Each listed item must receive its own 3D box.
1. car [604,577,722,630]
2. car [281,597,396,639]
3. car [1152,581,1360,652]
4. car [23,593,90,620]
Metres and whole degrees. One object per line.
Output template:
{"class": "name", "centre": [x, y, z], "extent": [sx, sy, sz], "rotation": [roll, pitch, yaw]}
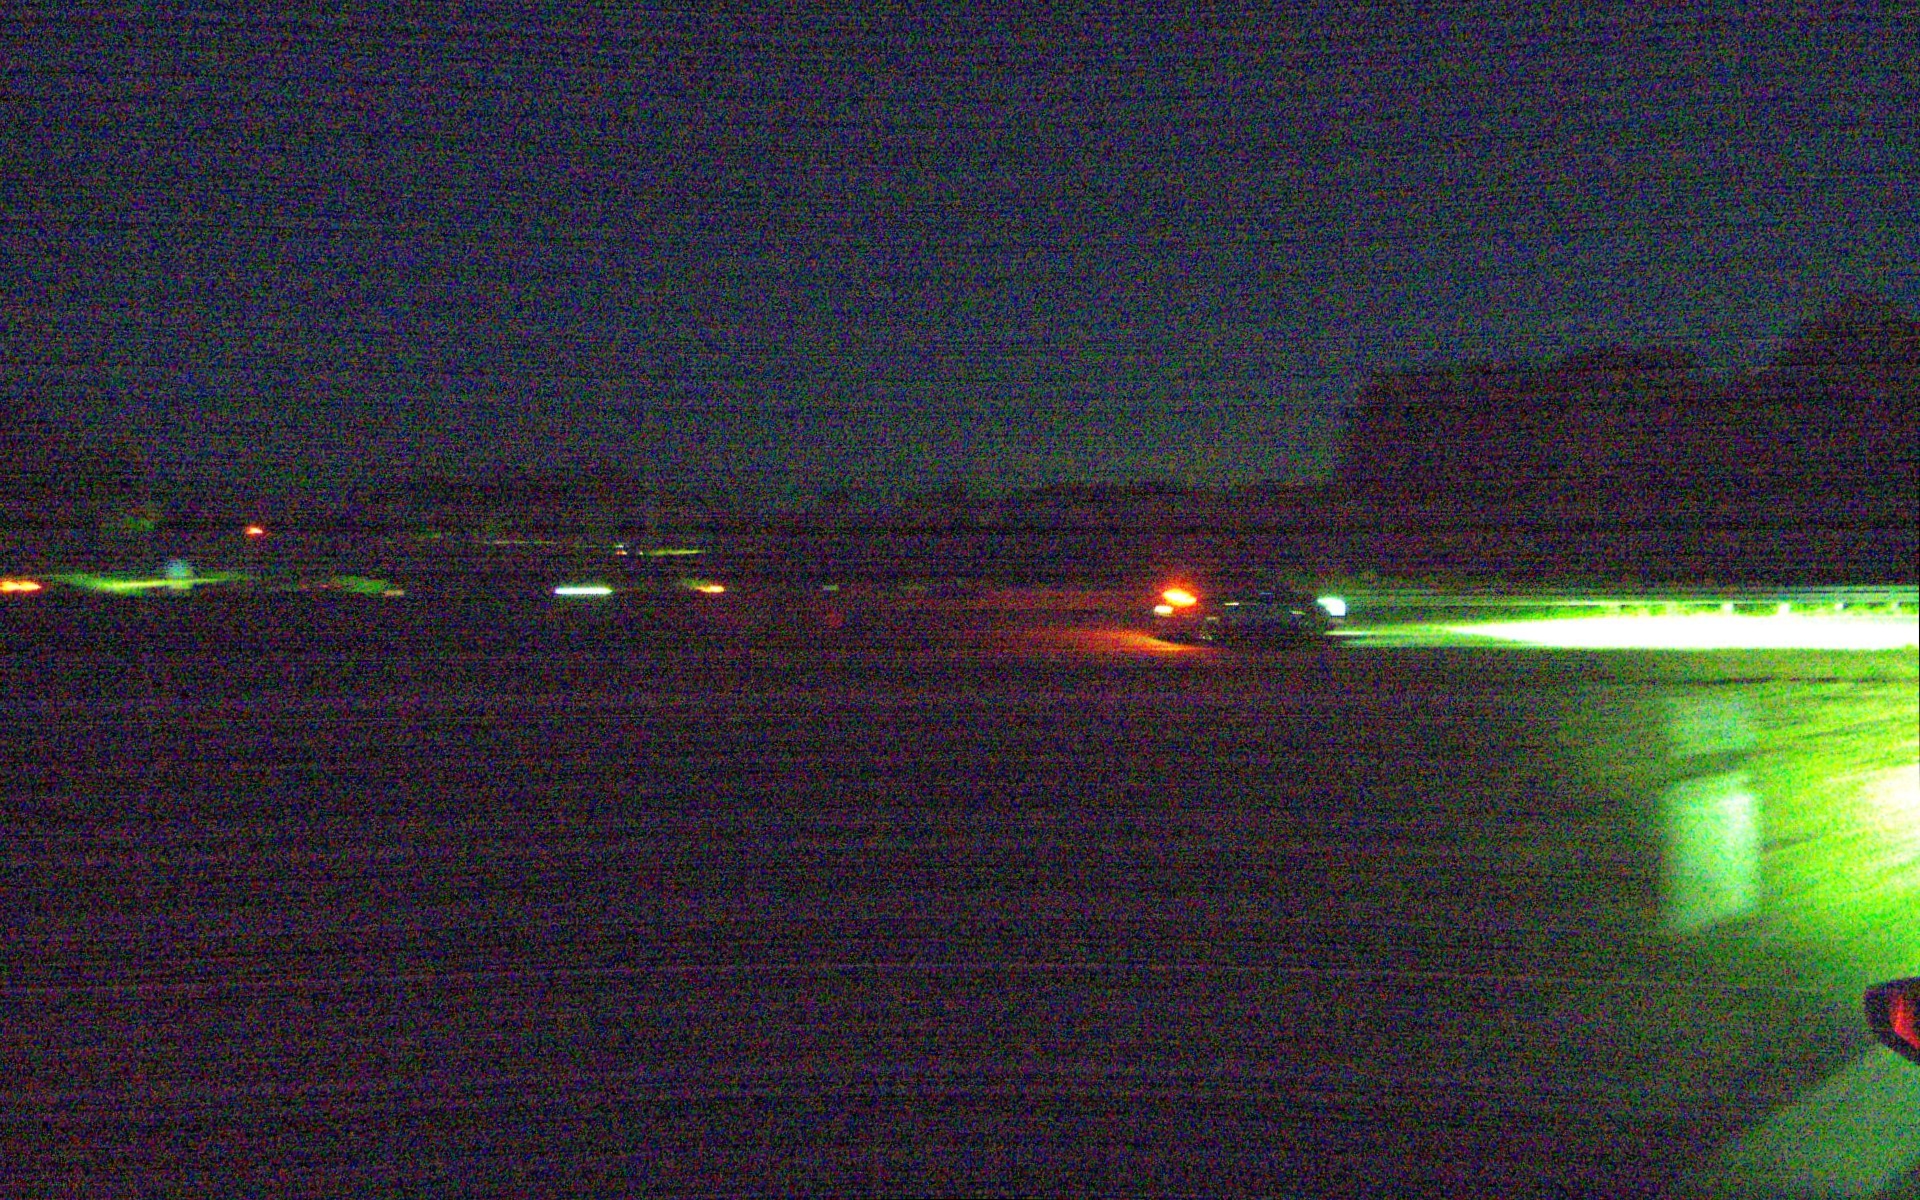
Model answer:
{"class": "car", "centre": [-11.014, 0.133, 37.516], "extent": [3.924, 1.911, 1.815], "rotation": [0, 0, -5]}
{"class": "car", "centre": [-27.343, 0.779, 44.292], "extent": [3.924, 1.780, 1.787], "rotation": [0, -1, -5]}
{"class": "car", "centre": [7.255, 0.359, 24.901], "extent": [4.555, 1.630, 1.945], "rotation": [0, 2, -5]}
{"class": "car", "centre": [-69.834, 0.540, 77.701], "extent": [1.842, 1.807, 3.995], "rotation": [3, -3, -9]}
